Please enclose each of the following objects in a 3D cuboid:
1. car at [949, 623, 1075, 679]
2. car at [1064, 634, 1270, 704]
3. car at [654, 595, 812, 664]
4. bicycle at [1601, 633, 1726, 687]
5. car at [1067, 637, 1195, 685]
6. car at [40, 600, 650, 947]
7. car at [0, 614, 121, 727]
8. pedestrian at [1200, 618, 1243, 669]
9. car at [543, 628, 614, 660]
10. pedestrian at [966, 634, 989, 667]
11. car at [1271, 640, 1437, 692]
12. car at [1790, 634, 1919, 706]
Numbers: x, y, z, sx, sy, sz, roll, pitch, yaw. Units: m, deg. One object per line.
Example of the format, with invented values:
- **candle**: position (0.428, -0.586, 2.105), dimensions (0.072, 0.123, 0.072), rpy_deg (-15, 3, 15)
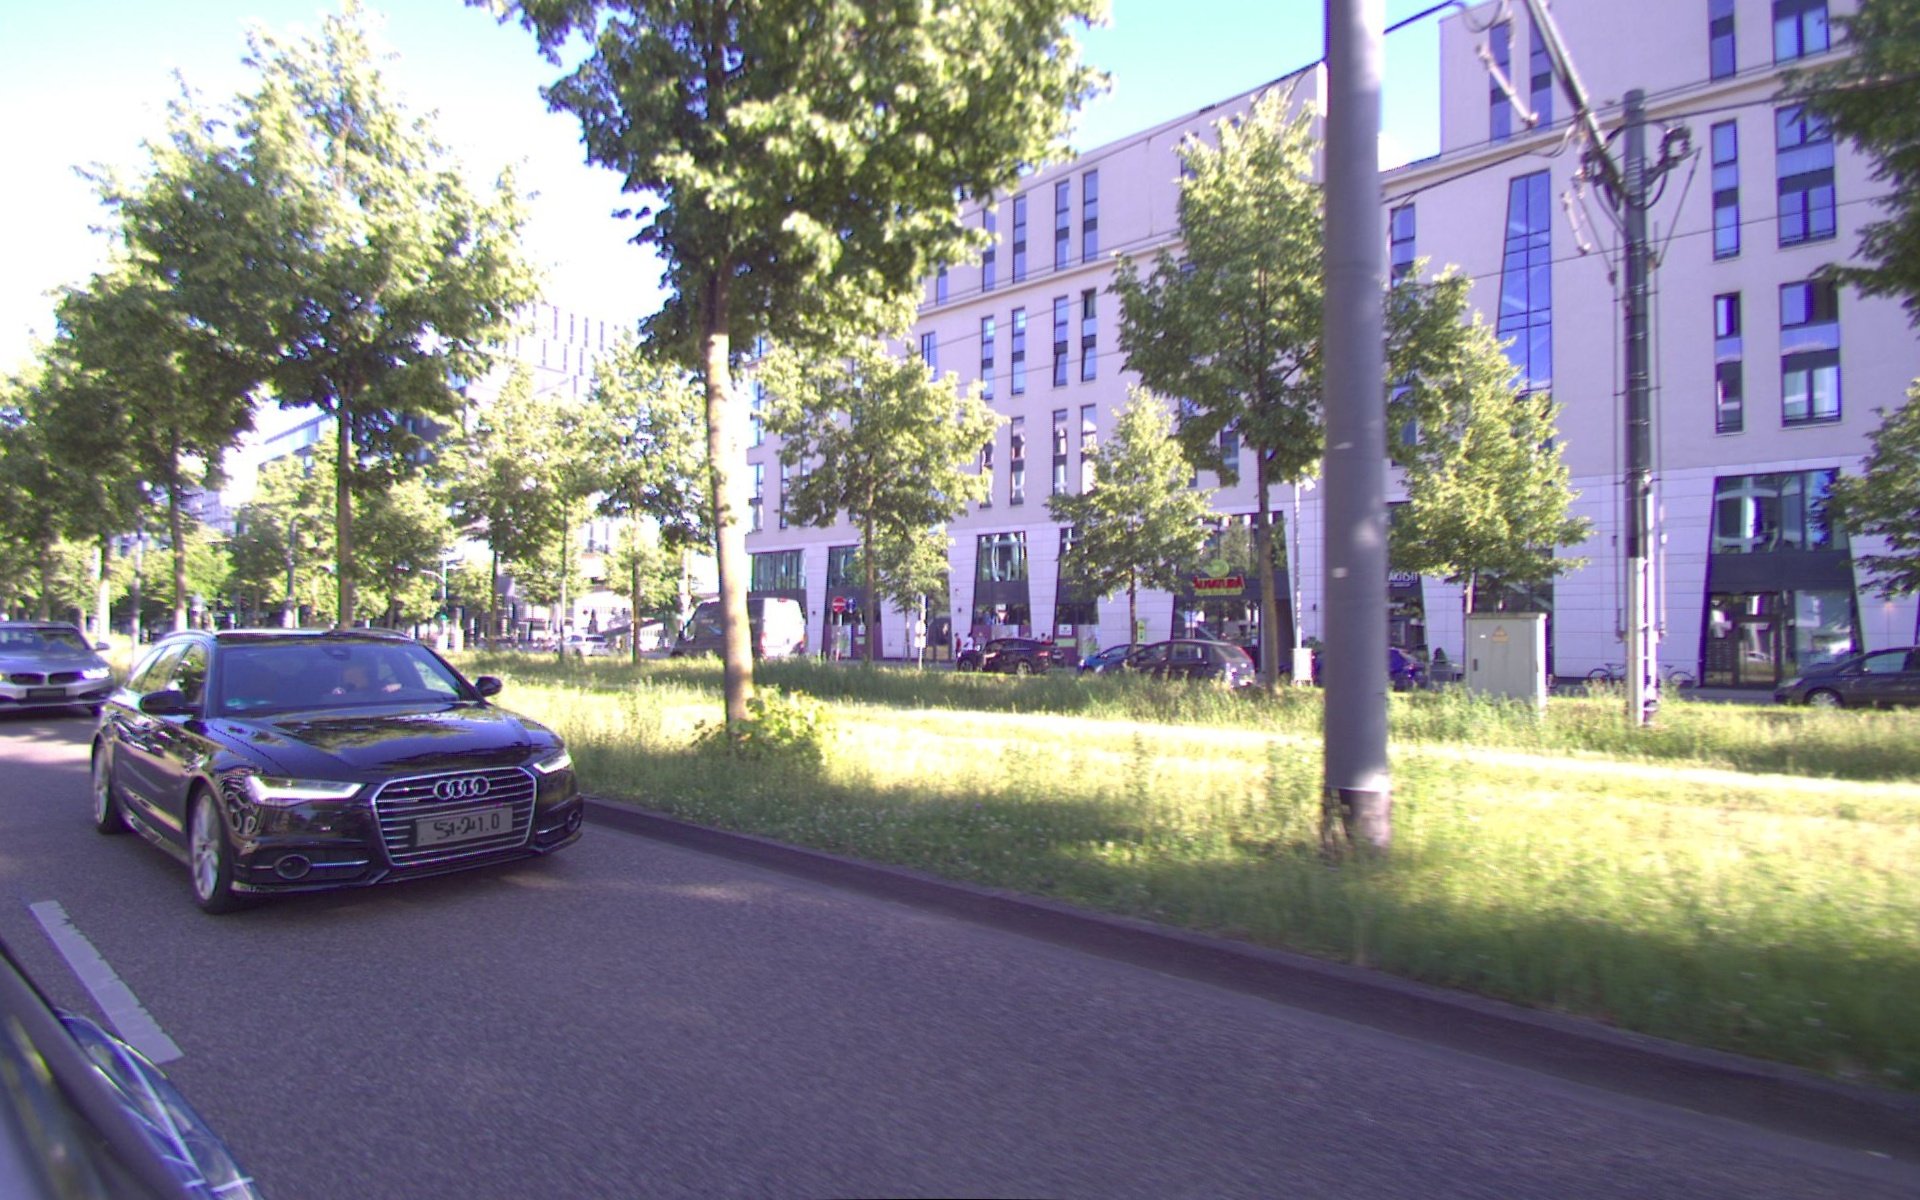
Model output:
- **car**: position (1.952, 1.933, 38.880), dimensions (4.549, 2.029, 1.974), rpy_deg (-2, -3, 39)
- **car**: position (4.903, 1.572, 24.269), dimensions (4.449, 1.452, 1.975), rpy_deg (-1, -1, 37)
- **car**: position (-8.603, 1.074, 38.077), dimensions (6.016, 2.399, 2.483), rpy_deg (-1, -1, 36)
- **bicycle**: position (21.377, 1.793, 30.828), dimensions (3.034, 1.557, 0.611), rpy_deg (-1, -1, 44)
- **car**: position (5.942, 2.089, 35.456), dimensions (3.999, 1.584, 1.972), rpy_deg (-2, -3, 42)
- **car**: position (-4.363, 0.863, 6.762), dimensions (5.080, 1.492, 1.933), rpy_deg (-3, -3, 40)
- **car**: position (-14.908, 1.034, 16.064), dimensions (4.276, 1.590, 1.862), rpy_deg (-1, -1, 42)
- **pedestrian**: position (9.273, 1.533, 35.870), dimensions (1.222, 1.756, 0.833), rpy_deg (-1, -1, 42)
- **car**: position (-23.051, 2.614, 61.060), dimensions (4.417, 1.822, 2.079), rpy_deg (-1, -1, 39)
- **pedestrian**: position (0.844, 2.437, 49.100), dimensions (0.964, 1.548, 0.649), rpy_deg (-1, -1, 45)
- **car**: position (11.738, 1.922, 30.279), dimensions (4.331, 1.424, 1.706), rpy_deg (-2, -3, 38)
- **car**: position (20.772, 1.501, 21.920), dimensions (4.269, 1.491, 1.542), rpy_deg (-2, -2, 41)
